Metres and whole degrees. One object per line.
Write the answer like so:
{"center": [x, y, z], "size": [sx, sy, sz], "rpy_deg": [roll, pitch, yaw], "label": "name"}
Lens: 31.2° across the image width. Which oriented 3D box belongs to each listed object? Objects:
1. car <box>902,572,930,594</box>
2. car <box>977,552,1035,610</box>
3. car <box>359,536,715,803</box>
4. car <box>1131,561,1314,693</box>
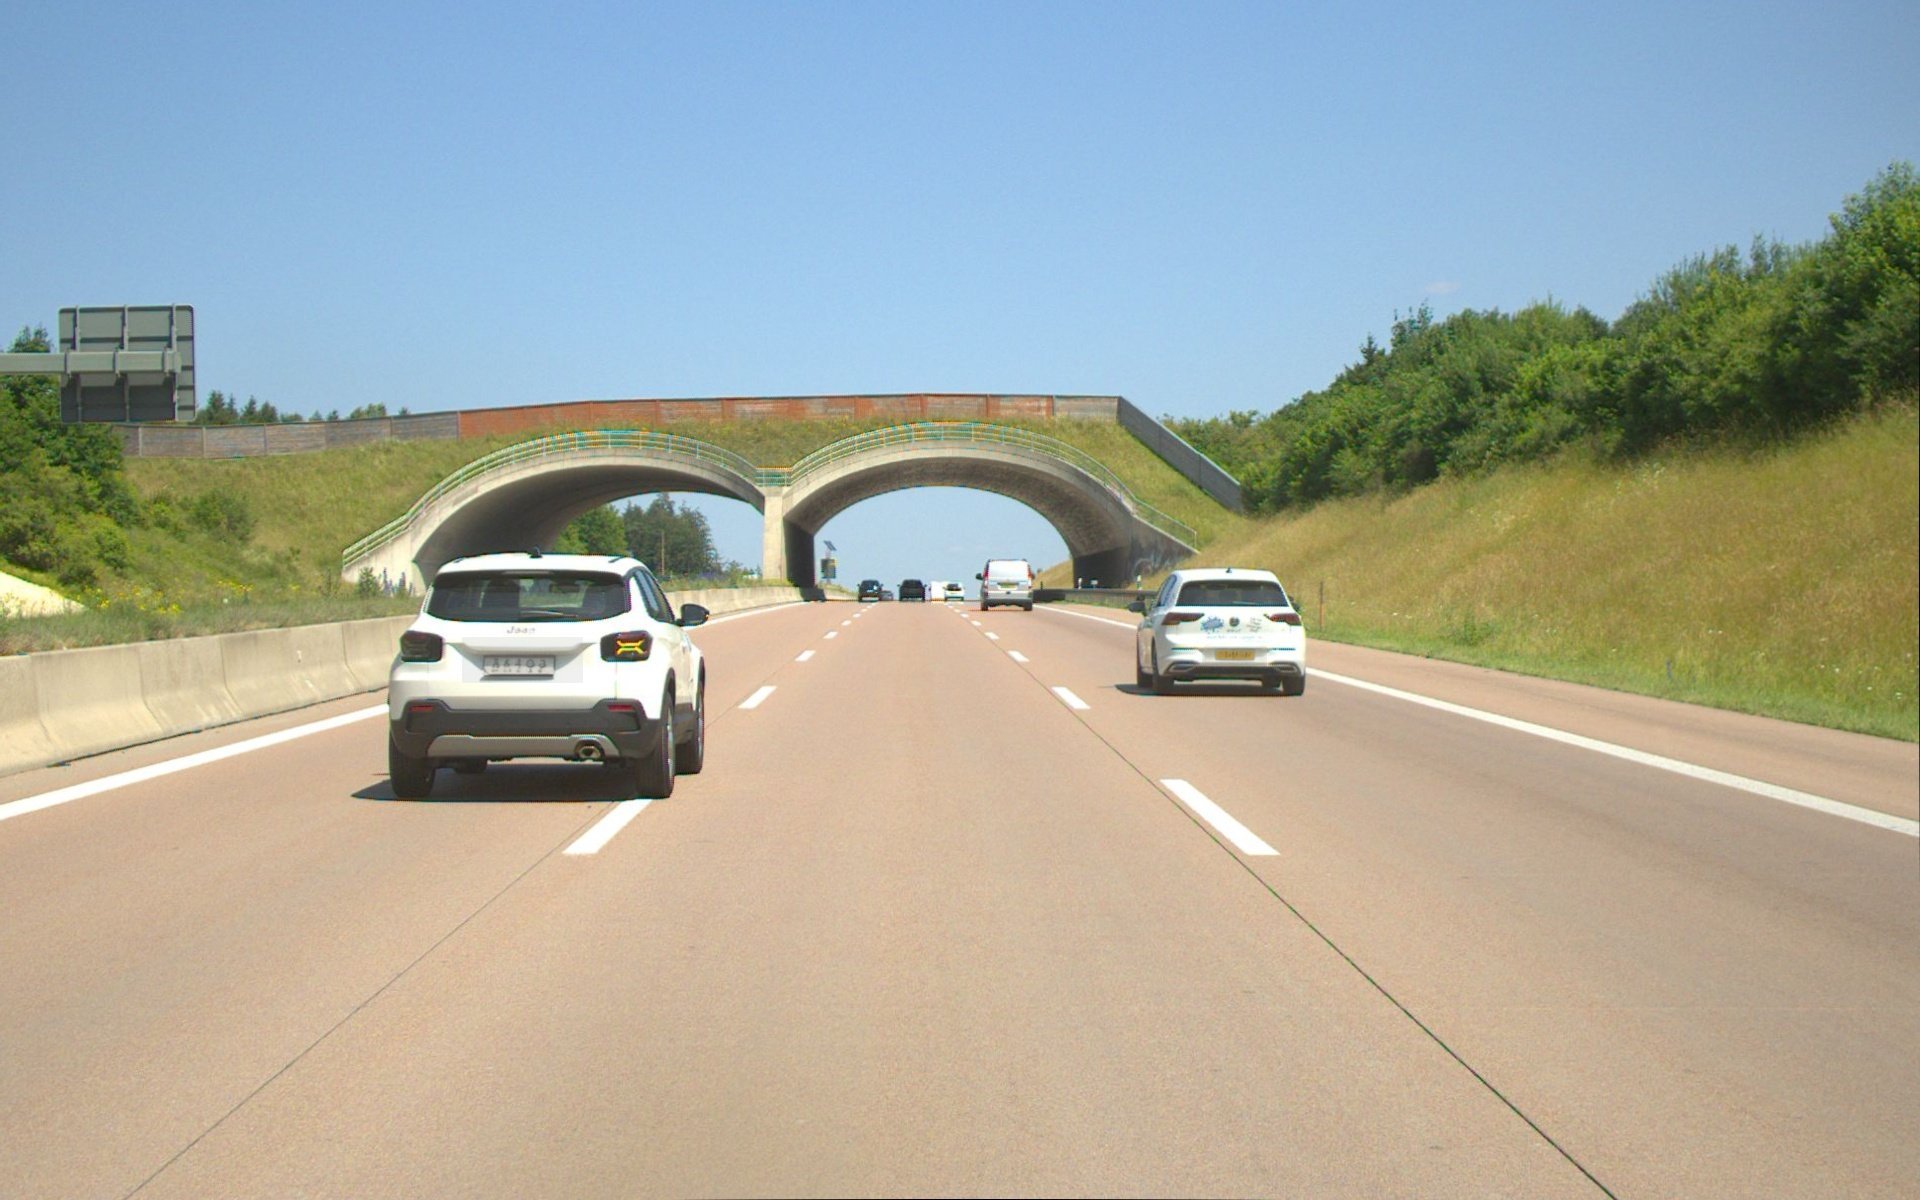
{"center": [-3.042, -1.183, 238.157], "size": [1.891, 1.458, 4.000], "rpy_deg": [1, 1, 0], "label": "car"}
{"center": [1.706, -0.725, 127.764], "size": [2.110, 2.047, 4.000], "rpy_deg": [0, 2, 1], "label": "car"}
{"center": [-2.727, 0.377, 23.171], "size": [1.879, 1.602, 4.834], "rpy_deg": [0, 1, -1], "label": "car"}
{"center": [3.028, 0.278, 40.376], "size": [1.891, 1.393, 4.000], "rpy_deg": [1, 1, 1], "label": "car"}
